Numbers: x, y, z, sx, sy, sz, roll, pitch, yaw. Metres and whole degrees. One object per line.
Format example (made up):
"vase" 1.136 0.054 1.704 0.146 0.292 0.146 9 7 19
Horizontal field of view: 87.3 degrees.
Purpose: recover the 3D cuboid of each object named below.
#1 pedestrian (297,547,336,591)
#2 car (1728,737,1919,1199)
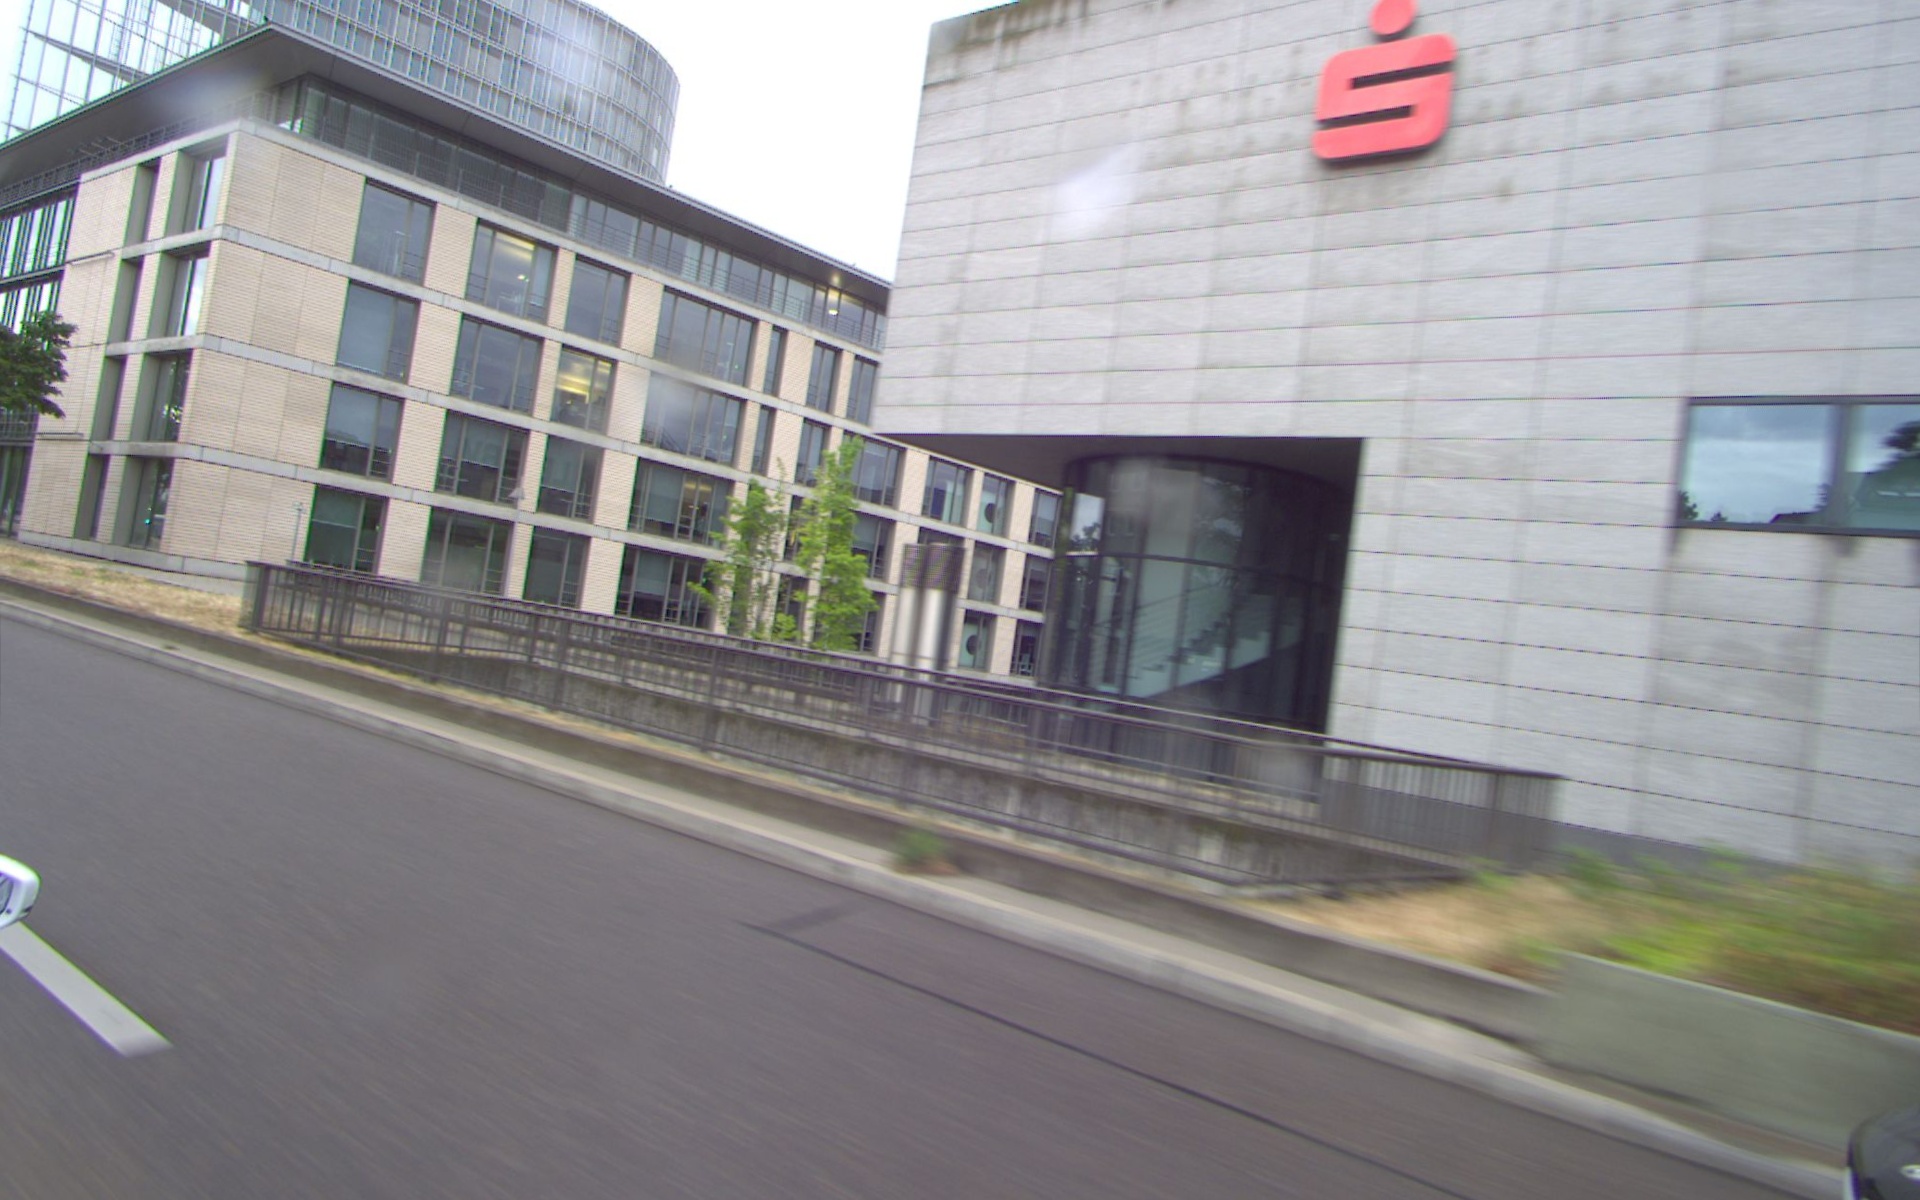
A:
"pedestrian" -22.603 -1.094 35.340 0.872 1.355 0.958 9 -1 -40
"car" 3.587 1.288 1.018 4.135 1.453 1.877 9 -1 32
